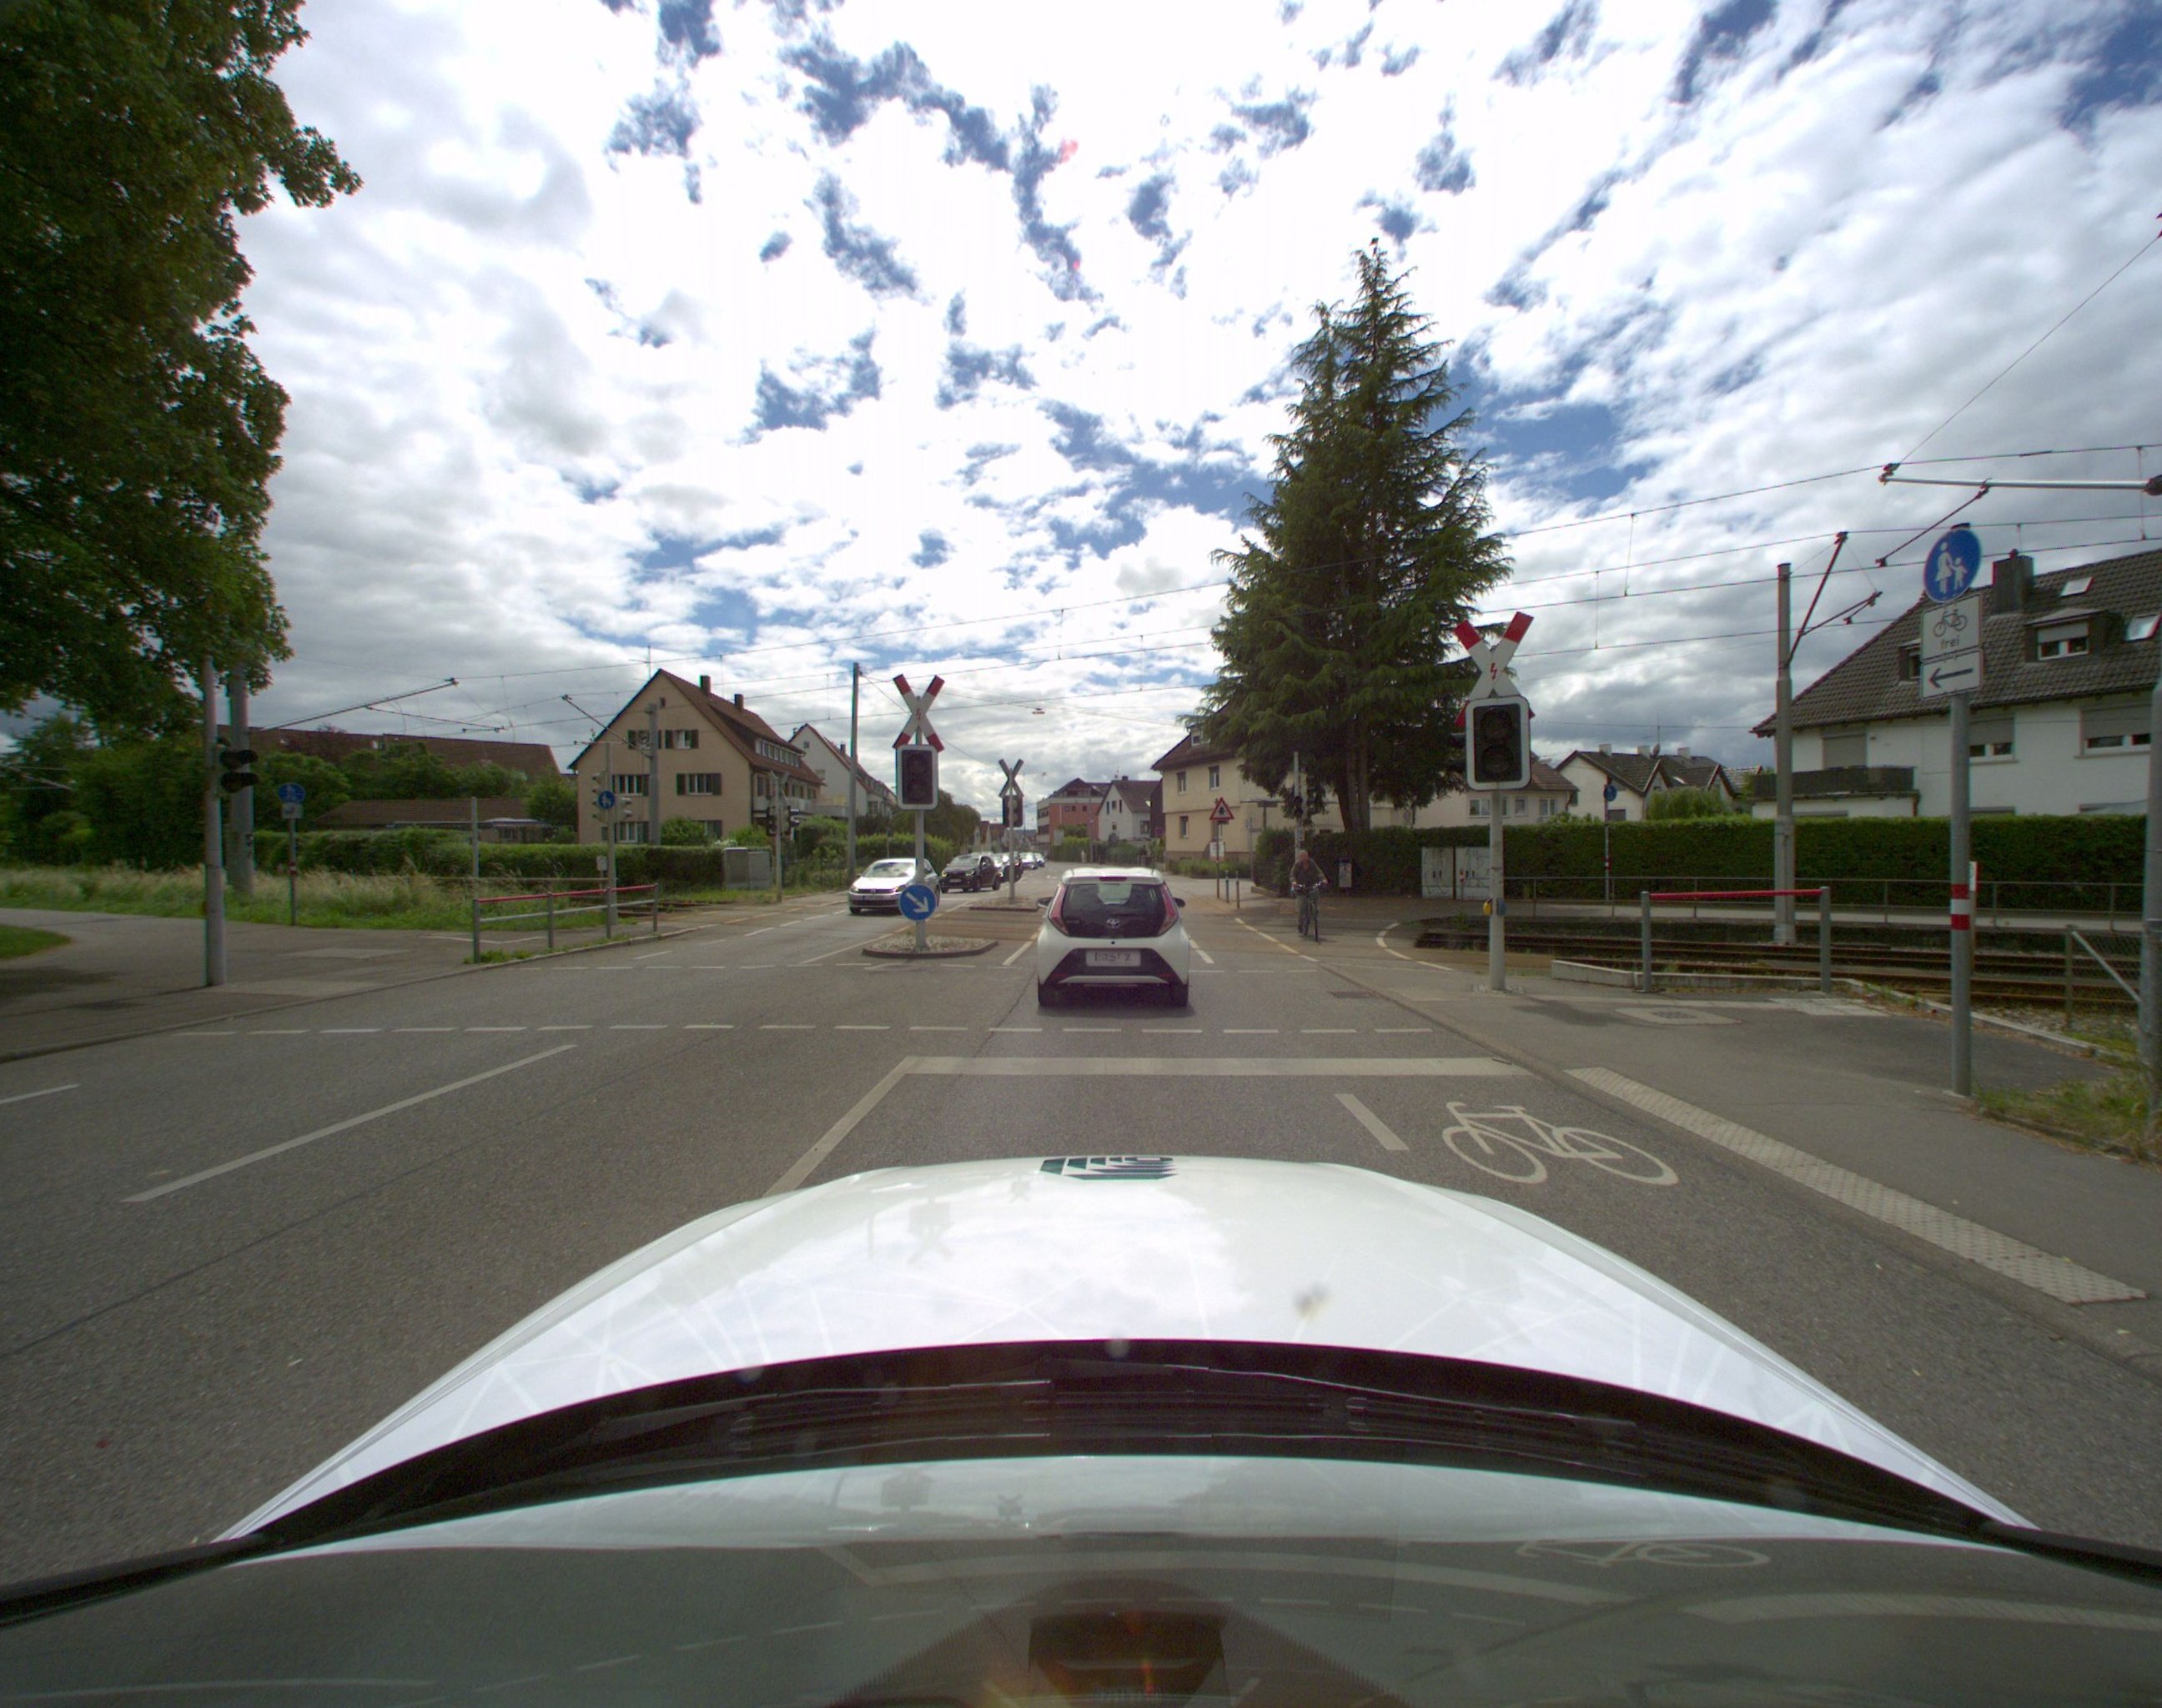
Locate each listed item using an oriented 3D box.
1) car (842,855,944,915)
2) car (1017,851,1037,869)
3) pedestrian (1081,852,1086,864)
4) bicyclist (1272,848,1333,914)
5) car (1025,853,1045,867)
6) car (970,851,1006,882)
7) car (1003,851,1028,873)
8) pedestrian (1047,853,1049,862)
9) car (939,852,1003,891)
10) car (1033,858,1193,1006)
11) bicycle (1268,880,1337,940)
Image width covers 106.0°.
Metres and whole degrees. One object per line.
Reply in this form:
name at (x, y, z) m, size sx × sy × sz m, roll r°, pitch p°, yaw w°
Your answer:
car at (-5.266, 0.820, 23.349) m, size 1.680 × 1.458 × 4.074 m, roll 0°, pitch 1°, yaw 4°
car at (-4.922, 0.511, 73.834) m, size 1.772 × 1.561 × 4.161 m, roll 0°, pitch 0°, yaw -5°
pedestrian at (0.258, 0.448, 99.740) m, size 0.439 × 1.437 × 0.410 m, roll 0°, pitch 0°, yaw -33°
bicyclist at (4.318, 0.504, 15.950) m, size 0.928 × 1.247 × 1.103 m, roll 0°, pitch 0°, yaw 3°
car at (-4.832, 0.640, 85.641) m, size 1.774 × 1.430 × 4.510 m, roll 0°, pitch 0°, yaw -8°
car at (-5.133, 0.653, 45.248) m, size 1.771 × 1.603 × 4.034 m, roll 0°, pitch 0°, yaw -3°
car at (-4.878, 0.581, 60.908) m, size 1.771 × 1.603 × 4.164 m, roll 0°, pitch 0°, yaw -4°
pedestrian at (-5.270, 0.499, 130.241) m, size 0.413 × 1.437 × 0.436 m, roll 0°, pitch 0°, yaw -8°
car at (-4.497, 0.717, 33.734) m, size 1.563 × 1.510 × 2.800 m, roll -3°, pitch -1°, yaw 16°
car at (0.399, 0.806, 10.255) m, size 1.615 × 1.486 × 4.002 m, roll 0°, pitch -1°, yaw 2°
bicycle at (4.317, 1.059, 15.997) m, size 0.928 × 1.040 × 1.916 m, roll 0°, pitch 0°, yaw 3°
